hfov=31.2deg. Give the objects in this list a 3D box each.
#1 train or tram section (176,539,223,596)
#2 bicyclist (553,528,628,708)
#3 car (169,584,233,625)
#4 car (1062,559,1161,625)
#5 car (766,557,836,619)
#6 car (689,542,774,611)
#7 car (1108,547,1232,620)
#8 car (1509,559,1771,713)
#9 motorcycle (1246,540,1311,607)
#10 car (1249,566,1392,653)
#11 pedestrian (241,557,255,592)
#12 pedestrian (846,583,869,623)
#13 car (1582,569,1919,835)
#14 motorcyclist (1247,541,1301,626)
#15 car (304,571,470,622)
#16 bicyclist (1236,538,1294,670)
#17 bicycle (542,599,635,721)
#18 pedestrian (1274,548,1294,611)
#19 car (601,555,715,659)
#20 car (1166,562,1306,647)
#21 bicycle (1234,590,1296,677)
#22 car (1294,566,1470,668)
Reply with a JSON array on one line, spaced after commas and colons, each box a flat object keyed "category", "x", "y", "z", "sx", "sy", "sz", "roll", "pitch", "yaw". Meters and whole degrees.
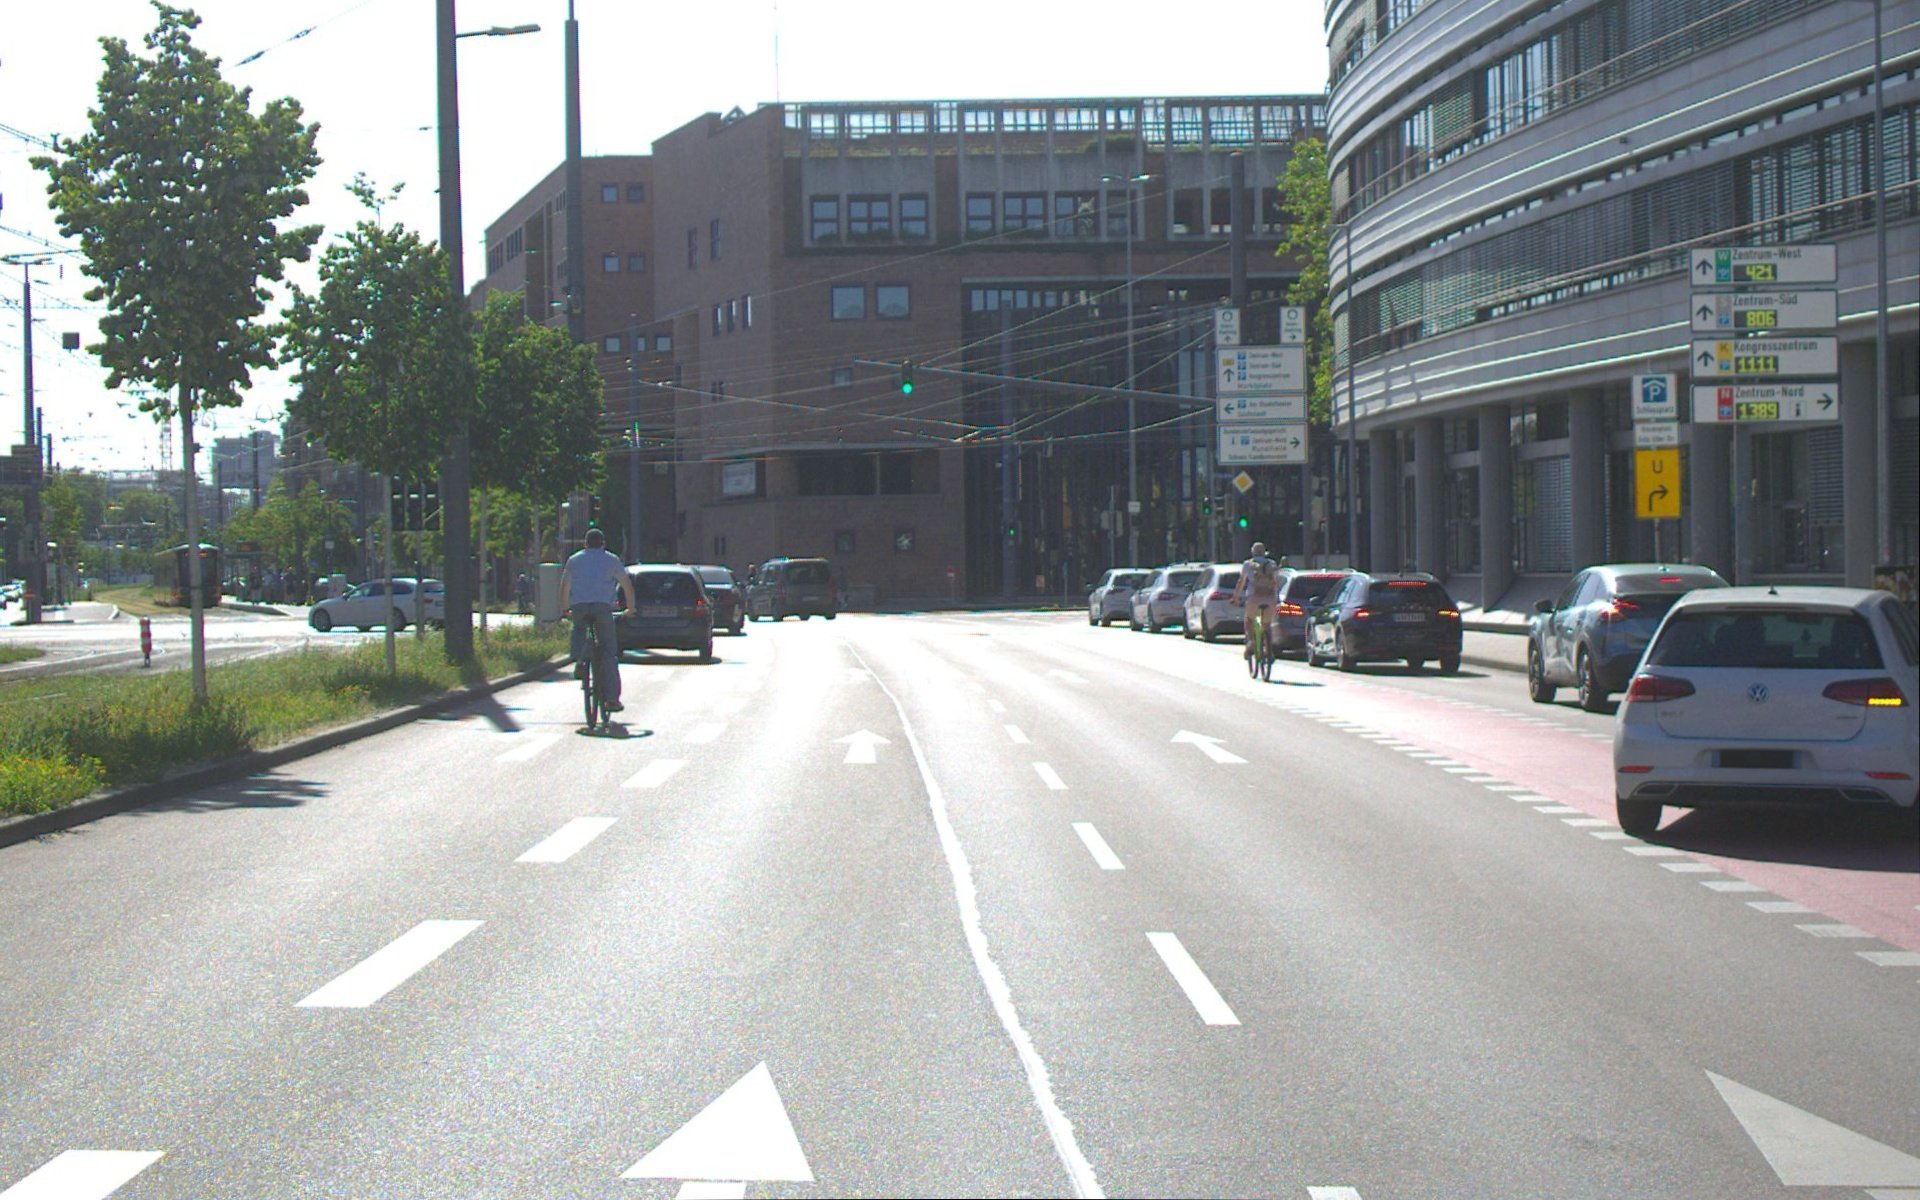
[{"category": "train or tram section", "x": -41.379, "y": -1.770, "z": 187.053, "sx": 2.326, "sy": 2.993, "sz": 13.164, "roll": -1, "pitch": 1, "yaw": -13}, {"category": "bicyclist", "x": -3.485, "y": 0.157, "z": 32.450, "sx": 0.617, "sy": 1.664, "sz": 1.020, "roll": 1, "pitch": 1, "yaw": -2}, {"category": "car", "x": -33.011, "y": 0.182, "z": 149.417, "sx": 2.261, "sy": 1.721, "sz": 3.945, "roll": -1, "pitch": 1, "yaw": -19}, {"category": "car", "x": 3.791, "y": -0.225, "z": 86.694, "sx": 1.906, "sy": 1.578, "sz": 4.139, "roll": 1, "pitch": 1, "yaw": -5}, {"category": "car", "x": -4.633, "y": -0.369, "z": 99.924, "sx": 1.781, "sy": 1.697, "sz": 4.139, "roll": 1, "pitch": 1, "yaw": -6}, {"category": "car", "x": -5.041, "y": -0.520, "z": 75.427, "sx": 1.726, "sy": 1.444, "sz": 4.522, "roll": -1, "pitch": 1, "yaw": -5}, {"category": "car", "x": 4.607, "y": -0.390, "z": 76.063, "sx": 1.905, "sy": 1.536, "sz": 4.139, "roll": 1, "pitch": 1, "yaw": -8}, {"category": "car", "x": 7.141, "y": 0.336, "z": 36.528, "sx": 1.721, "sy": 1.519, "sz": 4.399, "roll": -1, "pitch": 1, "yaw": -3}, {"category": "motorcycle", "x": 5.825, "y": -0.484, "z": 62.989, "sx": 0.829, "sy": 1.197, "sz": 2.390, "roll": 0, "pitch": 0, "yaw": -4}, {"category": "car", "x": 6.072, "y": 0.137, "z": 58.370, "sx": 1.721, "sy": 1.391, "sz": 4.788, "roll": -1, "pitch": 1, "yaw": -2}, {"category": "pedestrian", "x": -33.665, "y": -1.221, "z": 162.620, "sx": 0.538, "sy": 1.649, "sz": 0.707, "roll": -1, "pitch": 0, "yaw": -17}, {"category": "pedestrian", "x": -3.970, "y": 0.110, "z": 133.157, "sx": 0.617, "sy": 1.558, "sz": 0.987, "roll": -1, "pitch": 0, "yaw": -18}, {"category": "car", "x": 5.171, "y": 0.546, "z": 20.923, "sx": 1.775, "sy": 1.398, "sz": 4.288, "roll": 2, "pitch": 1, "yaw": 23}, {"category": "motorcyclist", "x": 5.771, "y": -0.305, "z": 63.215, "sx": 0.829, "sy": 1.556, "sz": 0.942, "roll": 0, "pitch": 0, "yaw": -4}, {"category": "car", "x": -16.306, "y": -0.098, "z": 97.828, "sx": 4.406, "sy": 1.376, "sz": 2.063, "roll": -1, "pitch": 1, "yaw": 33}, {"category": "bicyclist", "x": 4.124, "y": 0.049, "z": 46.523, "sx": 0.649, "sy": 1.746, "sz": 1.045, "roll": -1, "pitch": 1, "yaw": -1}, {"category": "bicycle", "x": -3.504, "y": 0.550, "z": 32.609, "sx": 0.686, "sy": 1.066, "sz": 2.697, "roll": 1, "pitch": 1, "yaw": -3}, {"category": "pedestrian", "x": 8.604, "y": -0.550, "z": 91.172, "sx": 0.427, "sy": 1.640, "sz": 0.562, "roll": -2, "pitch": 1, "yaw": 10}, {"category": "car", "x": -4.790, "y": 0.088, "z": 54.811, "sx": 1.726, "sy": 1.558, "sz": 3.678, "roll": -1, "pitch": 1, "yaw": -4}, {"category": "car", "x": 5.463, "y": 0.073, "z": 68.615, "sx": 1.905, "sy": 1.578, "sz": 4.139, "roll": 1, "pitch": 1, "yaw": -8}, {"category": "bicycle", "x": 4.128, "y": 0.438, "z": 46.632, "sx": 0.649, "sy": 1.106, "sz": 1.758, "roll": -1, "pitch": 1, "yaw": -1}, {"category": "car", "x": 6.221, "y": 0.220, "z": 51.186, "sx": 1.721, "sy": 1.417, "sz": 4.638, "roll": -1, "pitch": 1, "yaw": -4}]
